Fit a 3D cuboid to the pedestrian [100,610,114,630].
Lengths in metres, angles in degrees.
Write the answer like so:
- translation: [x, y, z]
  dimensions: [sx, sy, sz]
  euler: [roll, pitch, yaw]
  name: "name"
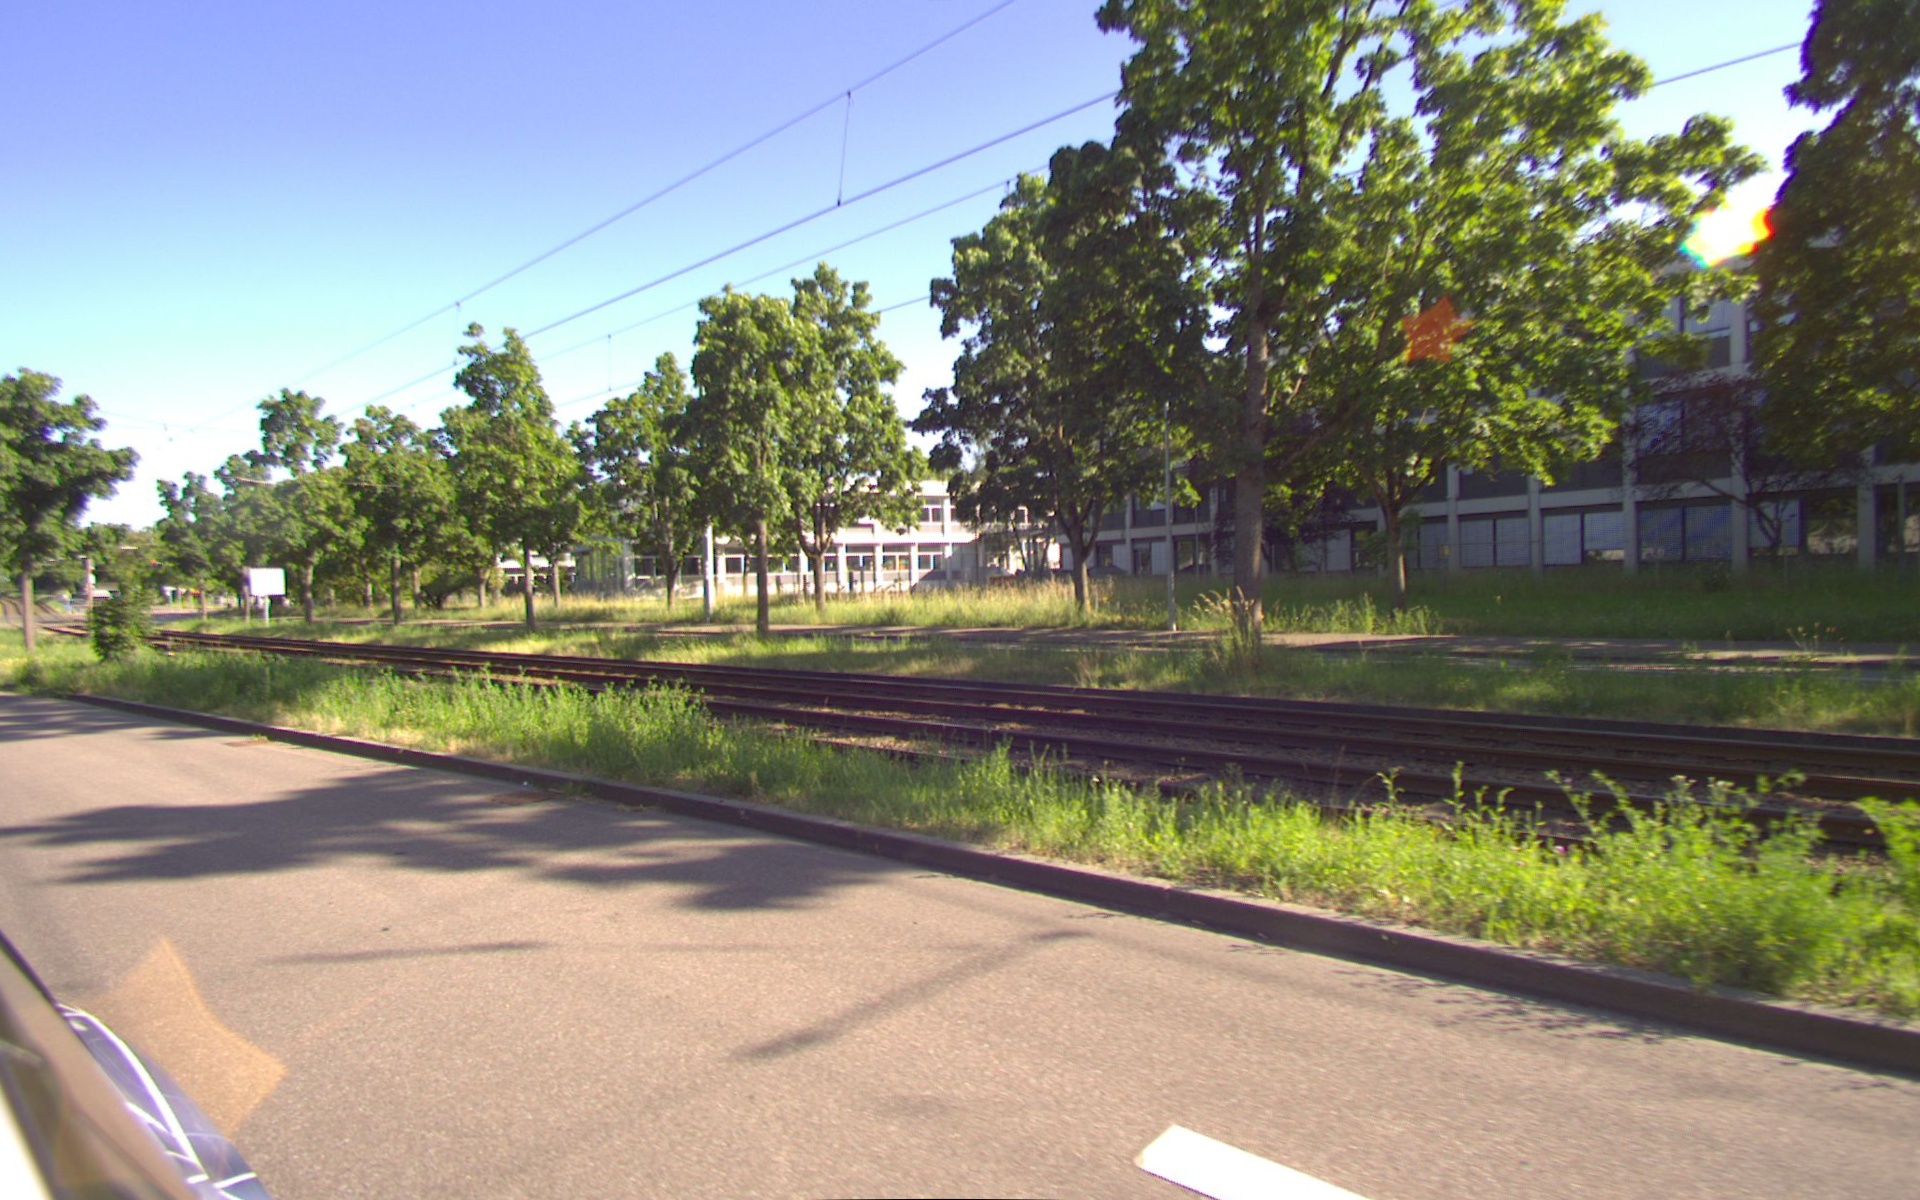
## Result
- translation: [-75.913, 1.792, 90.046]
  dimensions: [0.782, 1.764, 0.775]
  euler: [-1, 2, 43]
  name: "pedestrian"
